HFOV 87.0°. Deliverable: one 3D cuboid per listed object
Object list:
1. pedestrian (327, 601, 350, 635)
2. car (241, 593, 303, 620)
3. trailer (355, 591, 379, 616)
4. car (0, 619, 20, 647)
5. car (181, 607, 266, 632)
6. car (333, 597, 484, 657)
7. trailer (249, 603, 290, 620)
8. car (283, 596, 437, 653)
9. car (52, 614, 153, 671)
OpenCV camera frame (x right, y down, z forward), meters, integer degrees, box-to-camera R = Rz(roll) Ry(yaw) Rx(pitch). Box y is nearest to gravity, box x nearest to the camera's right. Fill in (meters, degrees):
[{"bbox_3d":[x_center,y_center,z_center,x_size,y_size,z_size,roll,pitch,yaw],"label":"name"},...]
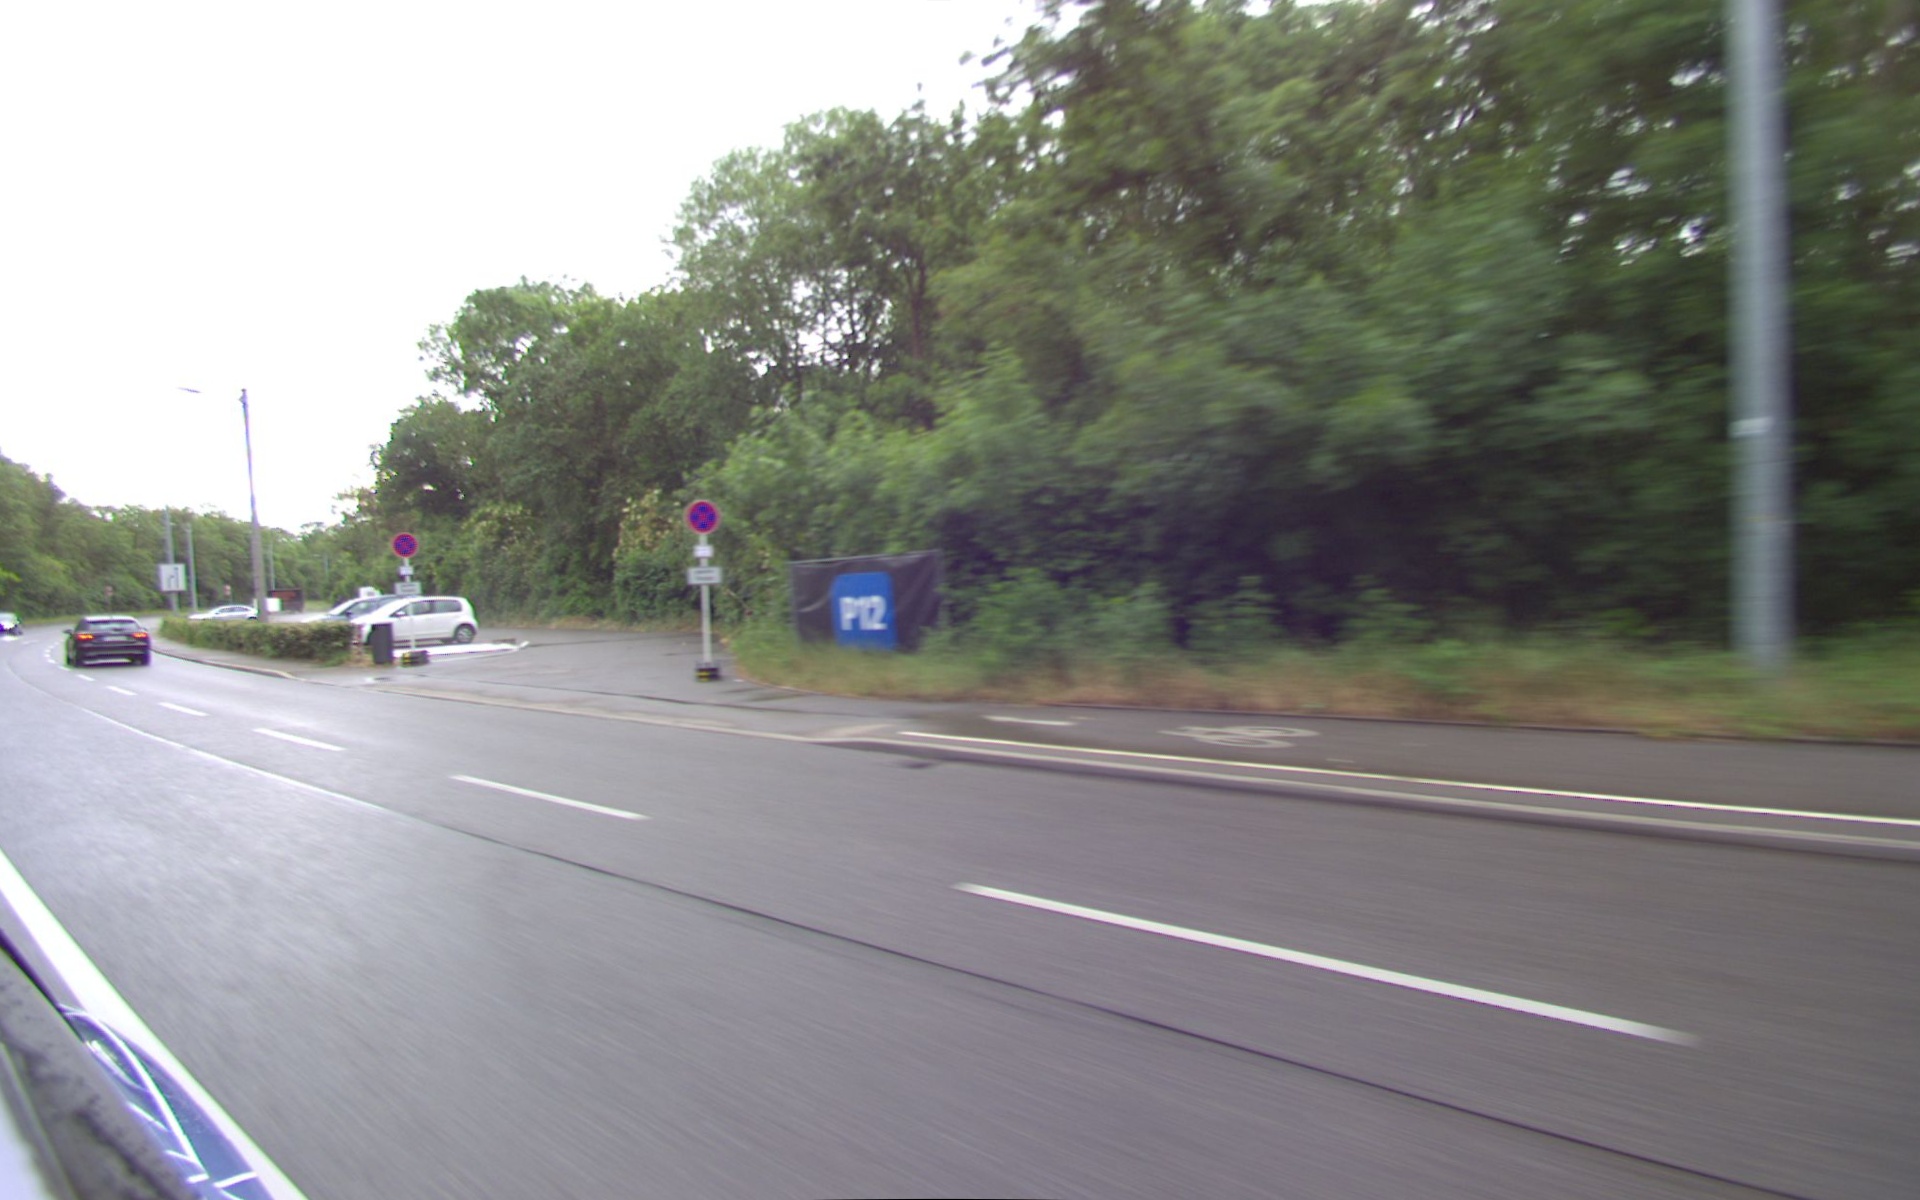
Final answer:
[{"bbox_3d":[-33.204,0.948,54.053,0.807,1.811,1.137,-1,1,-43],"label":"pedestrian"},{"bbox_3d":[-86.630,0.778,127.547,6.186,3.136,2.760,-2,2,-31],"label":"car"},{"bbox_3d":[-72.144,0.381,123.058,2.442,2.895,8.001,-1,0,-31],"label":"trailer"},{"bbox_3d":[-62.137,2.137,65.104,1.967,1.696,4.009,-1,1,-36],"label":"car"},{"bbox_3d":[-50.911,1.334,70.011,4.521,1.517,2.002,-2,1,-43],"label":"car"},{"bbox_3d":[-16.696,0.787,30.733,1.852,1.603,3.605,-1,1,43],"label":"car"},{"bbox_3d":[-83.831,1.384,122.854,3.931,2.068,1.879,-1,0,-28],"label":"trailer"},{"bbox_3d":[-20.601,0.789,34.834,4.238,1.721,2.003,-2,1,-40],"label":"car"},{"bbox_3d":[-25.533,1.202,30.077,4.320,1.509,1.913,-1,0,45],"label":"car"}]
